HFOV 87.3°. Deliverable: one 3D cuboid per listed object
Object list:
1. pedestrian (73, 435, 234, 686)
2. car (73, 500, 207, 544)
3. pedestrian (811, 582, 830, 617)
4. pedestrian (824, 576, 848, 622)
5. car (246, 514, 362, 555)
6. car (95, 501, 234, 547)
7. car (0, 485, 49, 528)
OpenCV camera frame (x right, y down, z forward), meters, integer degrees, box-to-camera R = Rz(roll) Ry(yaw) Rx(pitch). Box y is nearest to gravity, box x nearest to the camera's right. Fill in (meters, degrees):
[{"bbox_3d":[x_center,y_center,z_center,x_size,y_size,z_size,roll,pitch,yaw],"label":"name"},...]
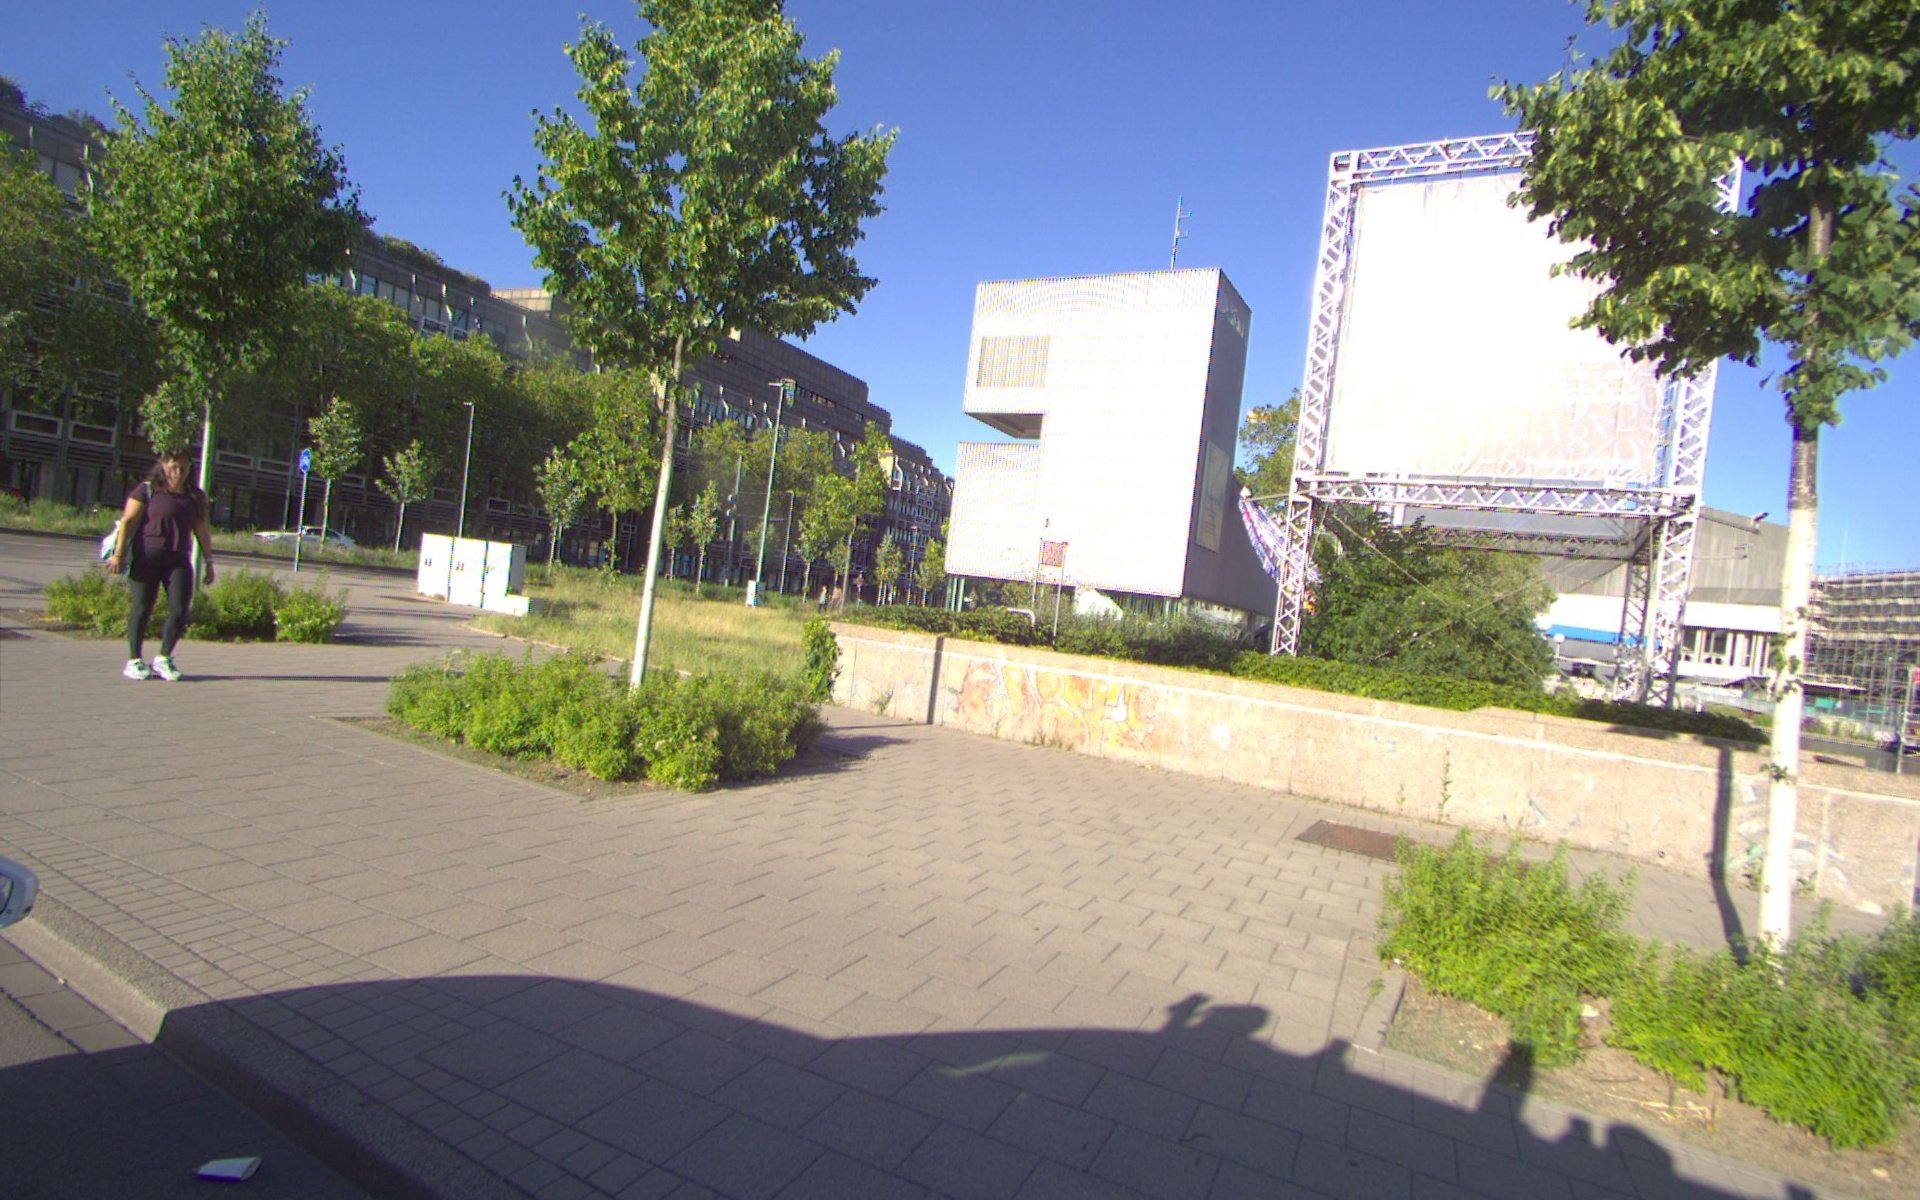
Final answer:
[{"bbox_3d":[-6.226,-0.293,7.810,0.817,1.771,1.031,5,2,-38],"label":"pedestrian"},{"bbox_3d":[-40.268,-3.793,49.553,1.965,1.373,4.641,9,0,27],"label":"car"},{"bbox_3d":[-6.748,-0.023,48.648,0.513,1.591,0.620,7,1,23],"label":"pedestrian"},{"bbox_3d":[-5.712,-0.029,46.370,0.669,2.039,0.620,7,1,23],"label":"pedestrian"},{"bbox_3d":[-34.434,-3.428,52.951,1.965,1.373,4.641,9,0,27],"label":"car"},{"bbox_3d":[-37.396,-3.550,47.436,1.965,1.373,4.641,9,0,27],"label":"car"},{"bbox_3d":[-37.227,-3.748,37.322,1.965,1.373,4.641,9,0,27],"label":"car"}]
